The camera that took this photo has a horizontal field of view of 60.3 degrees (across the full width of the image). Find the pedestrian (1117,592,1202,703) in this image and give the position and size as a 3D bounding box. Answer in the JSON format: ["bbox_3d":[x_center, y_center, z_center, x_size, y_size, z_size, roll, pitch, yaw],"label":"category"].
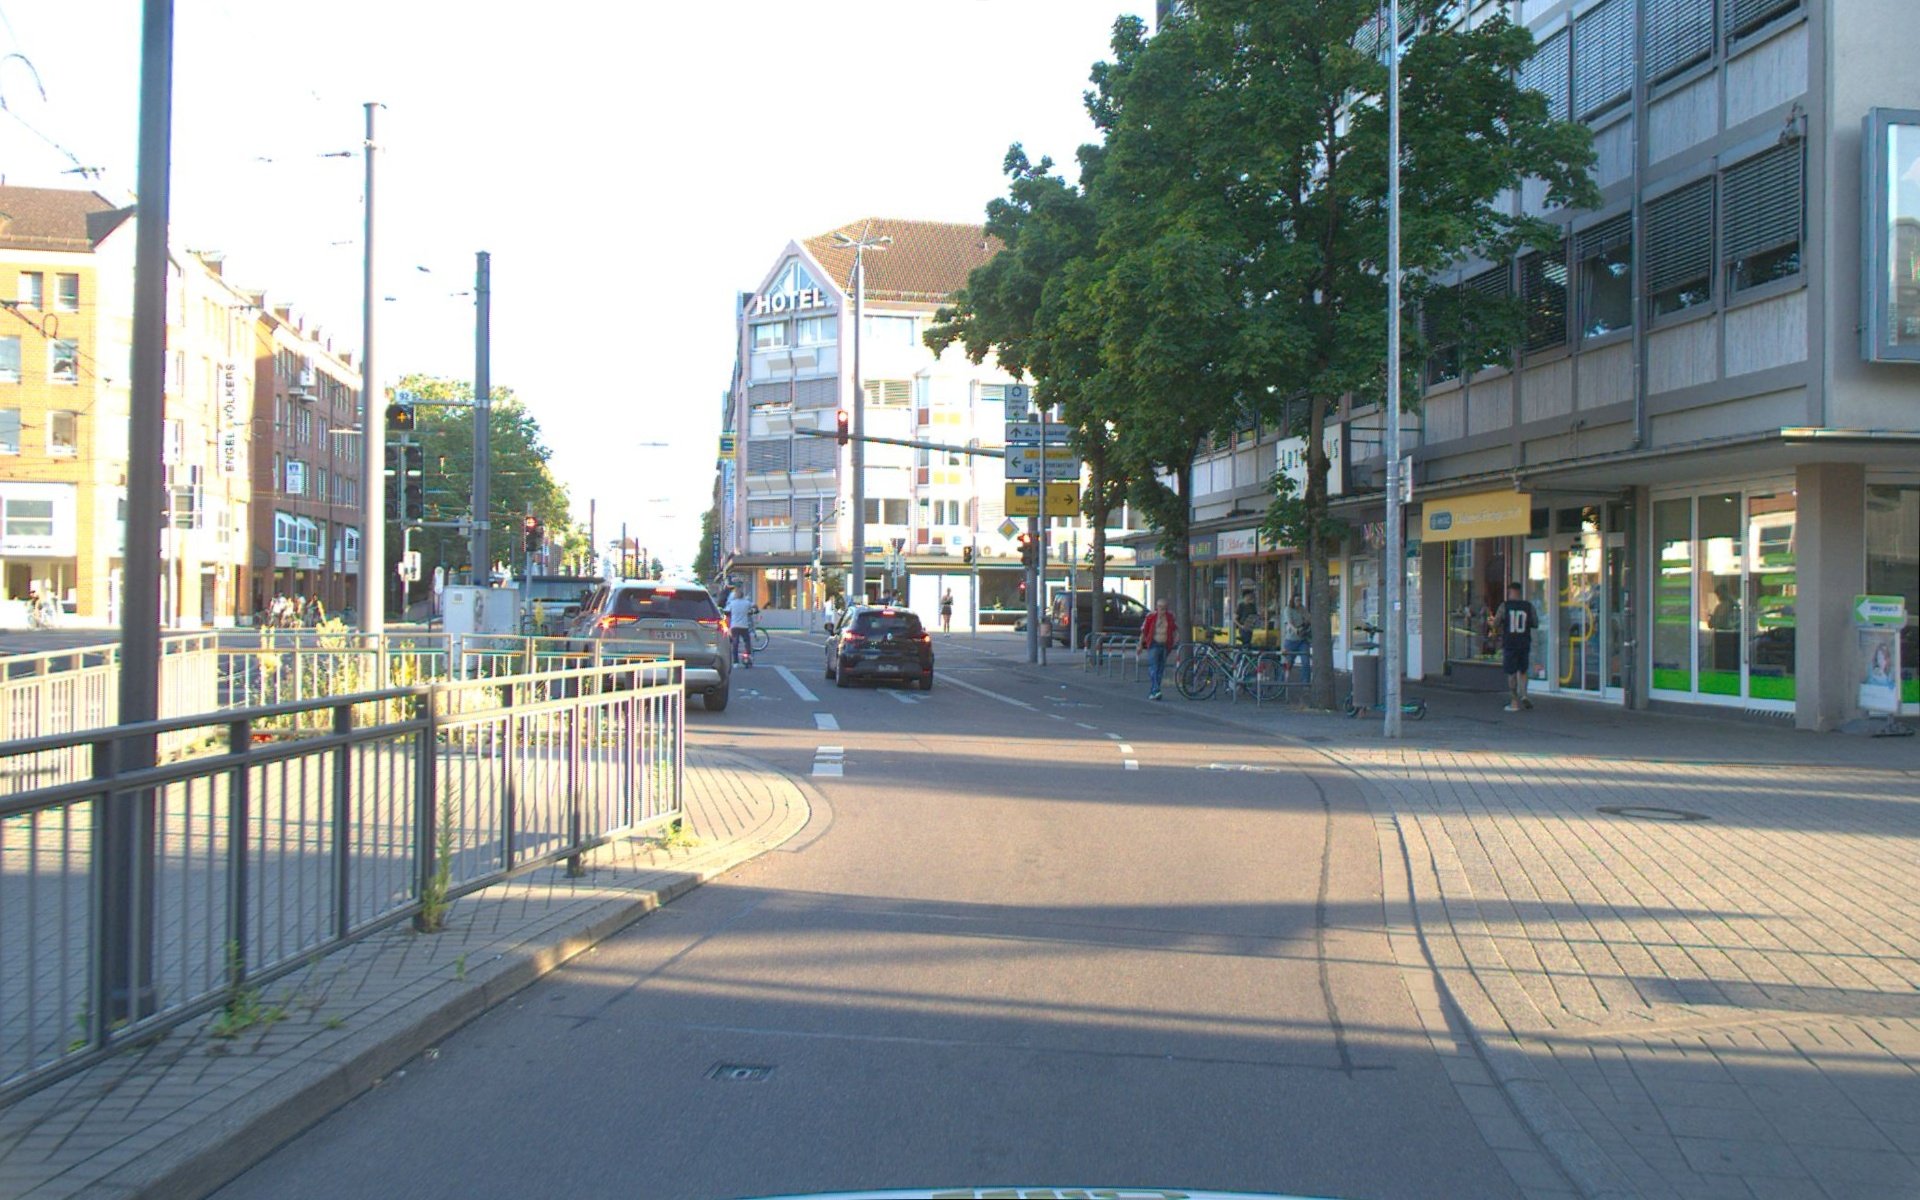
[{"bbox_3d":[3.169,0.745,26.275,0.817,1.714,1.035,3,-1,-36],"label":"pedestrian"}]

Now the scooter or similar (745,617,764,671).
[{"bbox_3d":[-4.335,0.925,34.903,0.274,1.110,1.256,2,-1,-3],"label":"scooter or similar"}]

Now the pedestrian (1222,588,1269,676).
[{"bbox_3d":[6.023,0.667,34.939,0.732,1.810,0.799,2,-1,-8],"label":"pedestrian"}]

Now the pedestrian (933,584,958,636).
[{"bbox_3d":[-0.527,0.366,59.263,0.732,1.810,0.799,2,-1,-7],"label":"pedestrian"}]

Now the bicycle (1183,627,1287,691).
[{"bbox_3d":[4.533,0.963,27.302,1.624,0.991,0.386,2,-1,-3],"label":"bicycle"}]

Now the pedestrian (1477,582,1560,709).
[{"bbox_3d":[7.766,0.625,23.033,0.732,1.713,0.892,2,-1,-8],"label":"pedestrian"}]

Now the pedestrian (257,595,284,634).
[{"bbox_3d":[-36.664,0.759,87.985,1.074,2.049,0.906,2,-1,-12],"label":"pedestrian"}]

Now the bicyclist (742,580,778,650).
[{"bbox_3d":[-5.596,0.415,46.291,0.846,1.911,0.644,2,-1,-16],"label":"bicyclist"}]

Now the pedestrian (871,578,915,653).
[{"bbox_3d":[-1.728,0.398,42.596,0.976,1.862,0.727,2,-1,-9],"label":"pedestrian"}]

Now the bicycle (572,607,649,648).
[{"bbox_3d":[-9.336,0.728,44.194,2.002,1.046,0.415,1,-1,-15],"label":"bicycle"}]

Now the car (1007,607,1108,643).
[{"bbox_3d":[4.710,1.203,80.116,4.472,1.649,1.992,2,-1,-13],"label":"car"}]

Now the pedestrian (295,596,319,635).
[{"bbox_3d":[-34.903,0.835,88.403,0.959,2.049,0.906,2,-1,-12],"label":"pedestrian"}]

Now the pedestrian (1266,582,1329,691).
[{"bbox_3d":[5.765,0.614,28.299,0.732,1.810,0.971,2,-1,-8],"label":"pedestrian"}]

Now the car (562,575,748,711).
[{"bbox_3d":[-4.238,0.532,22.478,1.808,1.665,4.066,1,0,-20],"label":"car"}]

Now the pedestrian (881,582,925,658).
[{"bbox_3d":[-1.439,0.502,41.829,0.976,1.862,0.727,2,-1,-9],"label":"pedestrian"}]

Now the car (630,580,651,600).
[{"bbox_3d":[-33.477,-1.059,173.326,1.956,1.934,3.992,2,-1,-8],"label":"car"}]

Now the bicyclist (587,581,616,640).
[{"bbox_3d":[-9.564,0.270,44.110,0.692,1.538,0.548,-1,0,-16],"label":"bicyclist"}]

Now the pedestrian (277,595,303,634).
[{"bbox_3d":[-36.263,0.801,89.569,1.074,2.049,0.906,2,-1,-12],"label":"pedestrian"}]

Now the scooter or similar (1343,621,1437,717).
[{"bbox_3d":[5.705,0.910,21.975,1.197,1.239,0.293,-1,-3,37],"label":"scooter or similar"}]

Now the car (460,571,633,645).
[{"bbox_3d":[-11.966,0.226,47.891,4.622,2.049,1.985,0,0,-25],"label":"car"}]

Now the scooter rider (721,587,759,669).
[{"bbox_3d":[-4.634,0.588,34.841,0.648,1.676,0.661,2,-1,-1],"label":"scooter rider"}]

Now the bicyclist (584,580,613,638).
[{"bbox_3d":[-9.810,0.242,44.875,0.692,1.538,0.548,-1,0,-15],"label":"bicyclist"}]

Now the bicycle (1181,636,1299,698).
[{"bbox_3d":[4.445,1.059,26.324,1.781,0.907,0.415,2,-1,-3],"label":"bicycle"}]

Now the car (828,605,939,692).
[{"bbox_3d":[-1.472,0.836,30.318,1.731,1.465,3.994,1,0,-7],"label":"car"}]

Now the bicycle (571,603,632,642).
[{"bbox_3d":[-9.726,0.613,44.878,1.585,1.046,0.352,1,-1,-16],"label":"bicycle"}]

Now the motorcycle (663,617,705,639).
[{"bbox_3d":[-12.447,1.259,74.551,1.802,0.924,0.430,2,-1,-14],"label":"motorcycle"}]

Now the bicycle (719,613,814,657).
[{"bbox_3d":[-5.417,0.983,46.315,2.597,1.119,0.434,2,-1,-16],"label":"bicycle"}]

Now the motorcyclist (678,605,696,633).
[{"bbox_3d":[-12.313,0.843,74.641,0.692,1.242,0.785,2,-1,-15],"label":"motorcyclist"}]

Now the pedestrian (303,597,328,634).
[{"bbox_3d":[-36.062,0.862,92.537,1.074,2.049,1.160,2,-1,-12],"label":"pedestrian"}]

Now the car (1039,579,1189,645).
[{"bbox_3d":[5.004,0.382,53.937,4.496,2.072,1.987,0,0,-22],"label":"car"}]
